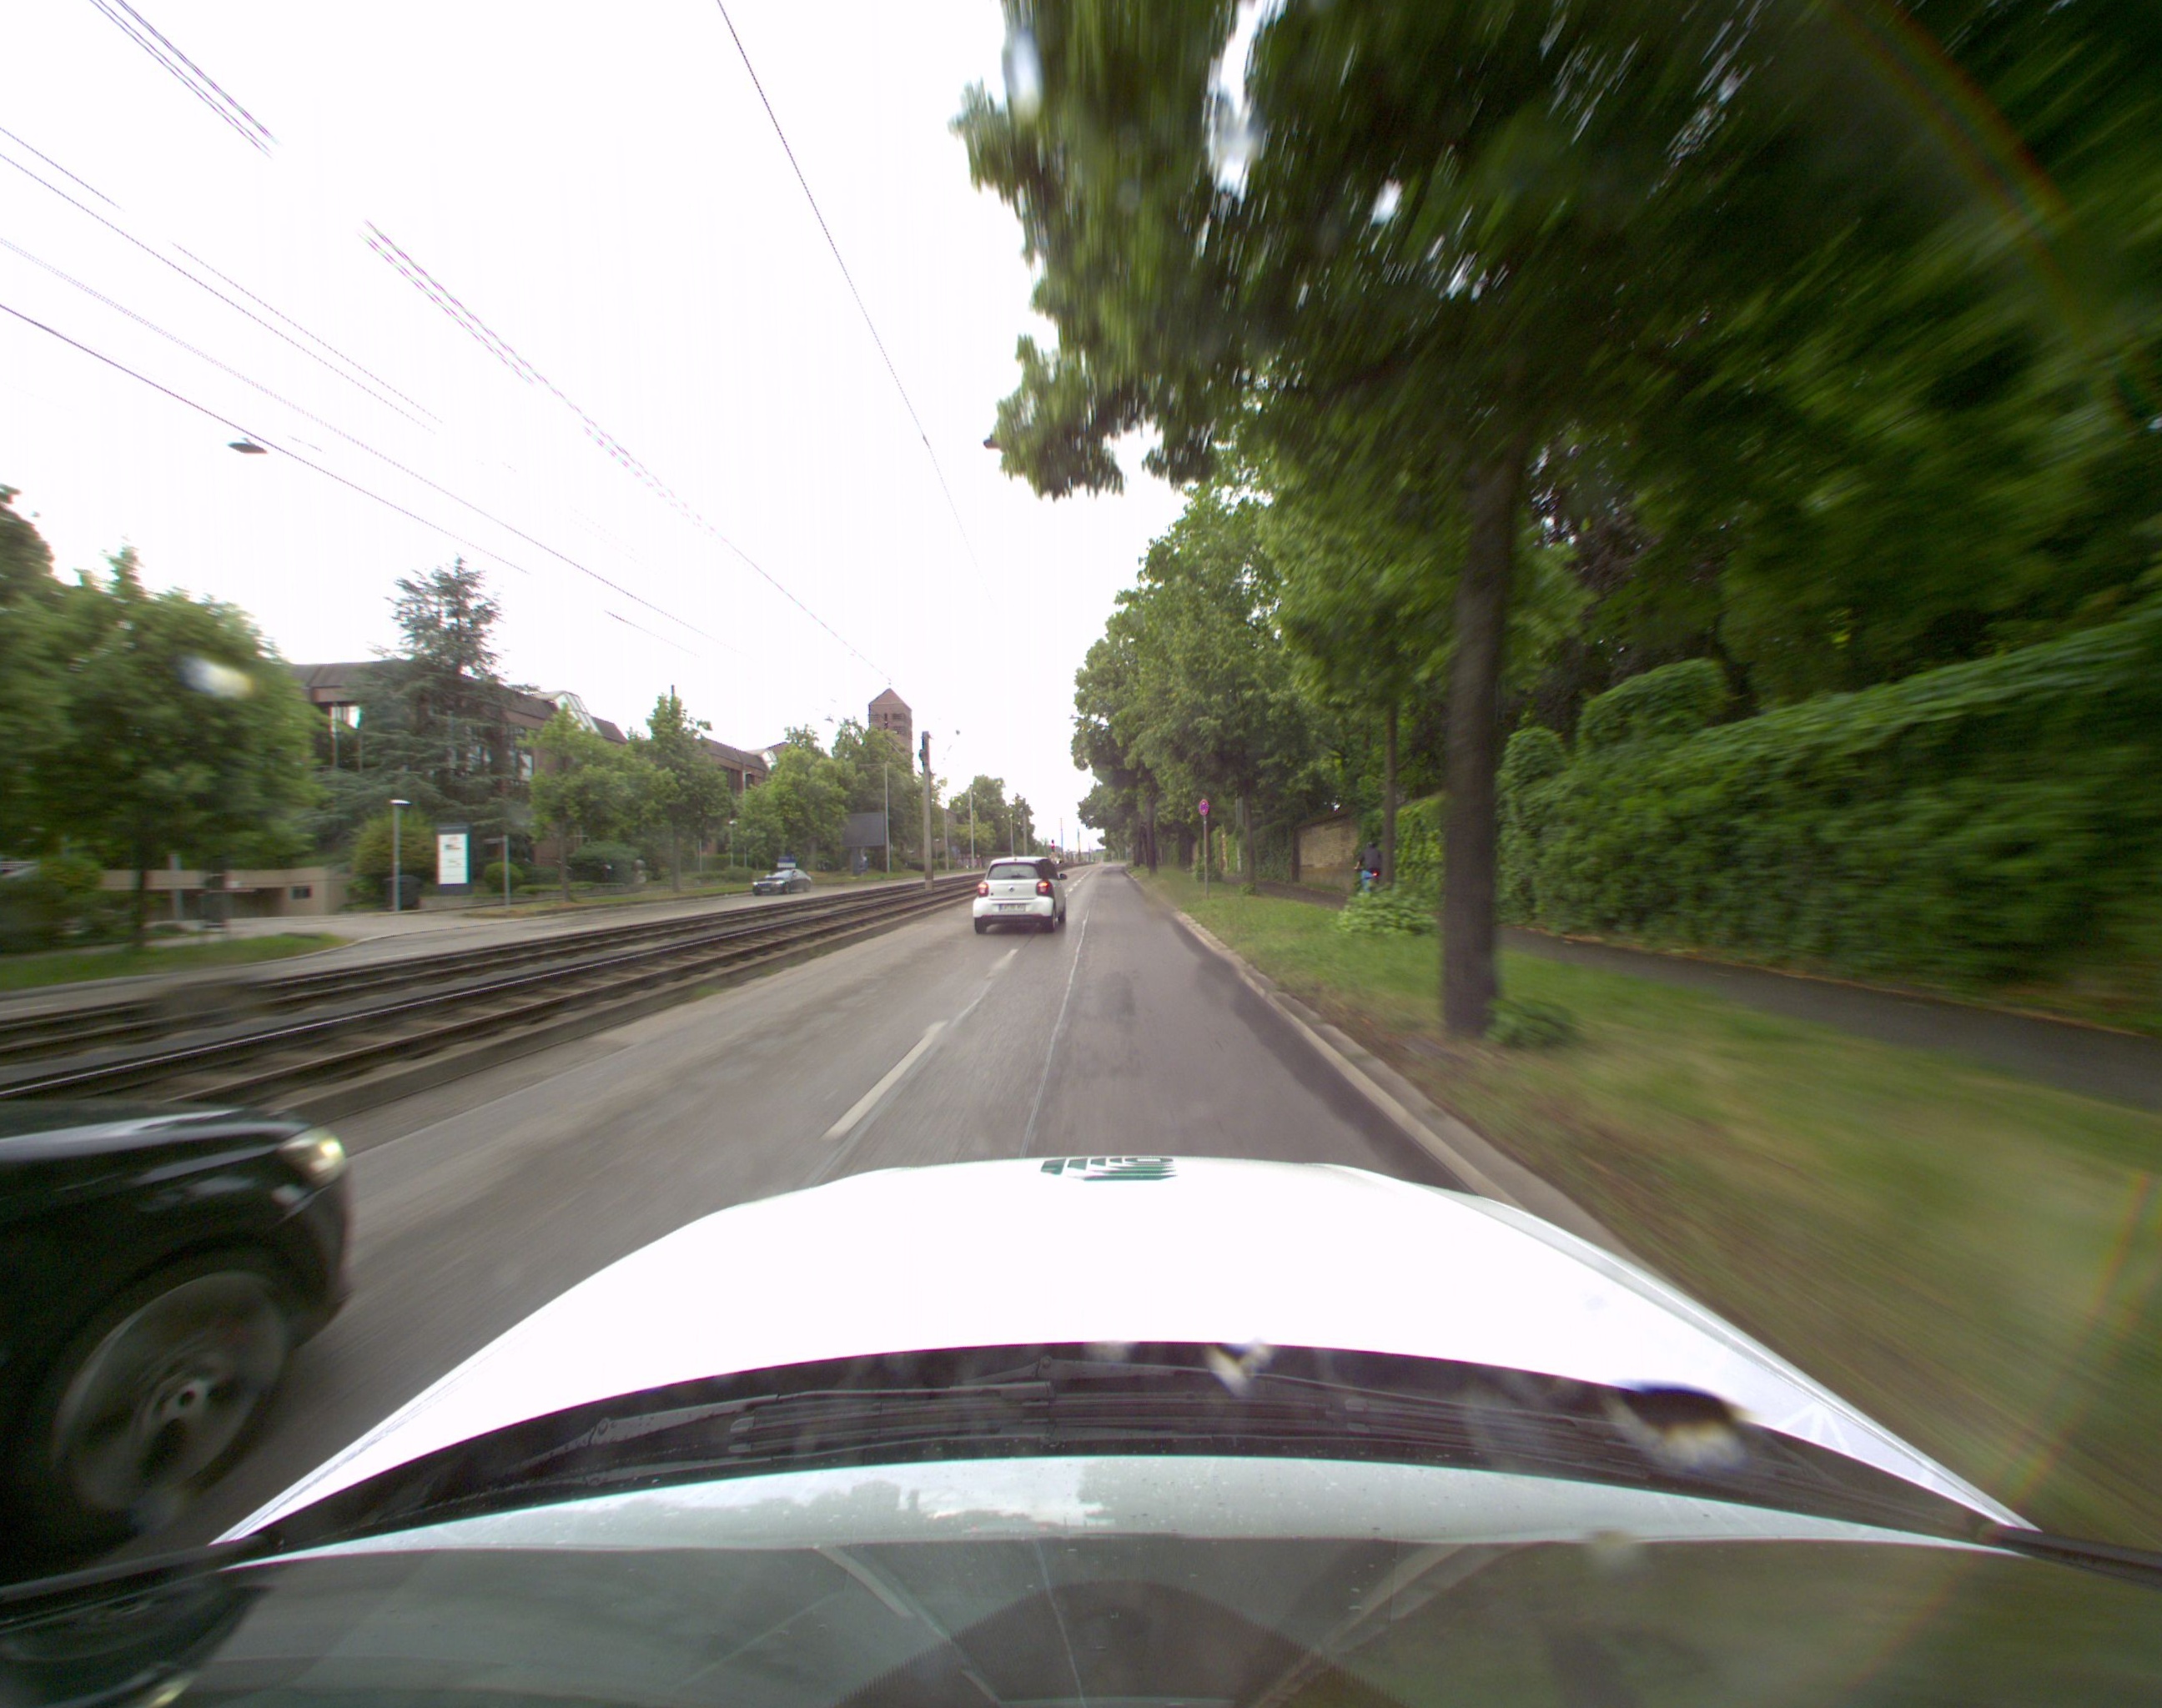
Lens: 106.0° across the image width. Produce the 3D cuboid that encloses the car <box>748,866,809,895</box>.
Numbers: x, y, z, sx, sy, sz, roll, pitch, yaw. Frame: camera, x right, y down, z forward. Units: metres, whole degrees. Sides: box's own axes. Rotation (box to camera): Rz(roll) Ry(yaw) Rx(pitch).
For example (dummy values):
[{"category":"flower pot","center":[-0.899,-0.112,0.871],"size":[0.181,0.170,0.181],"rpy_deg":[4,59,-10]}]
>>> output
[{"category":"car","center":[-17.739,1.526,47.953],"size":[1.788,1.530,4.622],"rpy_deg":[-2,0,0]}]

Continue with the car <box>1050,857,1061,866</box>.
[{"category":"car","center":[-5.494,1.597,175.365],"size":[1.825,1.656,4.246],"rpy_deg":[-2,0,6]}]

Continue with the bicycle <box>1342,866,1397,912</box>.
[{"category":"bicycle","center":[6.686,0.784,19.000],"size":[0.540,0.948,2.553],"rpy_deg":[-2,0,5]}]

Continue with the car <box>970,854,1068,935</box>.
[{"category":"car","center":[-1.254,0.795,17.868],"size":[1.670,1.531,3.723],"rpy_deg":[-2,0,2]}]

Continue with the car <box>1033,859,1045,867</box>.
[{"category":"car","center":[-8.943,1.959,173.884],"size":[2.003,1.656,4.624],"rpy_deg":[-2,0,6]}]

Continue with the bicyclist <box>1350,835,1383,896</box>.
[{"category":"bicyclist","center":[6.667,0.263,19.043],"size":[0.532,1.389,0.667],"rpy_deg":[-2,0,4]}]

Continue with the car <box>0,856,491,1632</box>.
[{"category":"car","center":[-3.009,0.796,0.861],"size":[1.788,1.485,3.965],"rpy_deg":[-2,0,0]}]
